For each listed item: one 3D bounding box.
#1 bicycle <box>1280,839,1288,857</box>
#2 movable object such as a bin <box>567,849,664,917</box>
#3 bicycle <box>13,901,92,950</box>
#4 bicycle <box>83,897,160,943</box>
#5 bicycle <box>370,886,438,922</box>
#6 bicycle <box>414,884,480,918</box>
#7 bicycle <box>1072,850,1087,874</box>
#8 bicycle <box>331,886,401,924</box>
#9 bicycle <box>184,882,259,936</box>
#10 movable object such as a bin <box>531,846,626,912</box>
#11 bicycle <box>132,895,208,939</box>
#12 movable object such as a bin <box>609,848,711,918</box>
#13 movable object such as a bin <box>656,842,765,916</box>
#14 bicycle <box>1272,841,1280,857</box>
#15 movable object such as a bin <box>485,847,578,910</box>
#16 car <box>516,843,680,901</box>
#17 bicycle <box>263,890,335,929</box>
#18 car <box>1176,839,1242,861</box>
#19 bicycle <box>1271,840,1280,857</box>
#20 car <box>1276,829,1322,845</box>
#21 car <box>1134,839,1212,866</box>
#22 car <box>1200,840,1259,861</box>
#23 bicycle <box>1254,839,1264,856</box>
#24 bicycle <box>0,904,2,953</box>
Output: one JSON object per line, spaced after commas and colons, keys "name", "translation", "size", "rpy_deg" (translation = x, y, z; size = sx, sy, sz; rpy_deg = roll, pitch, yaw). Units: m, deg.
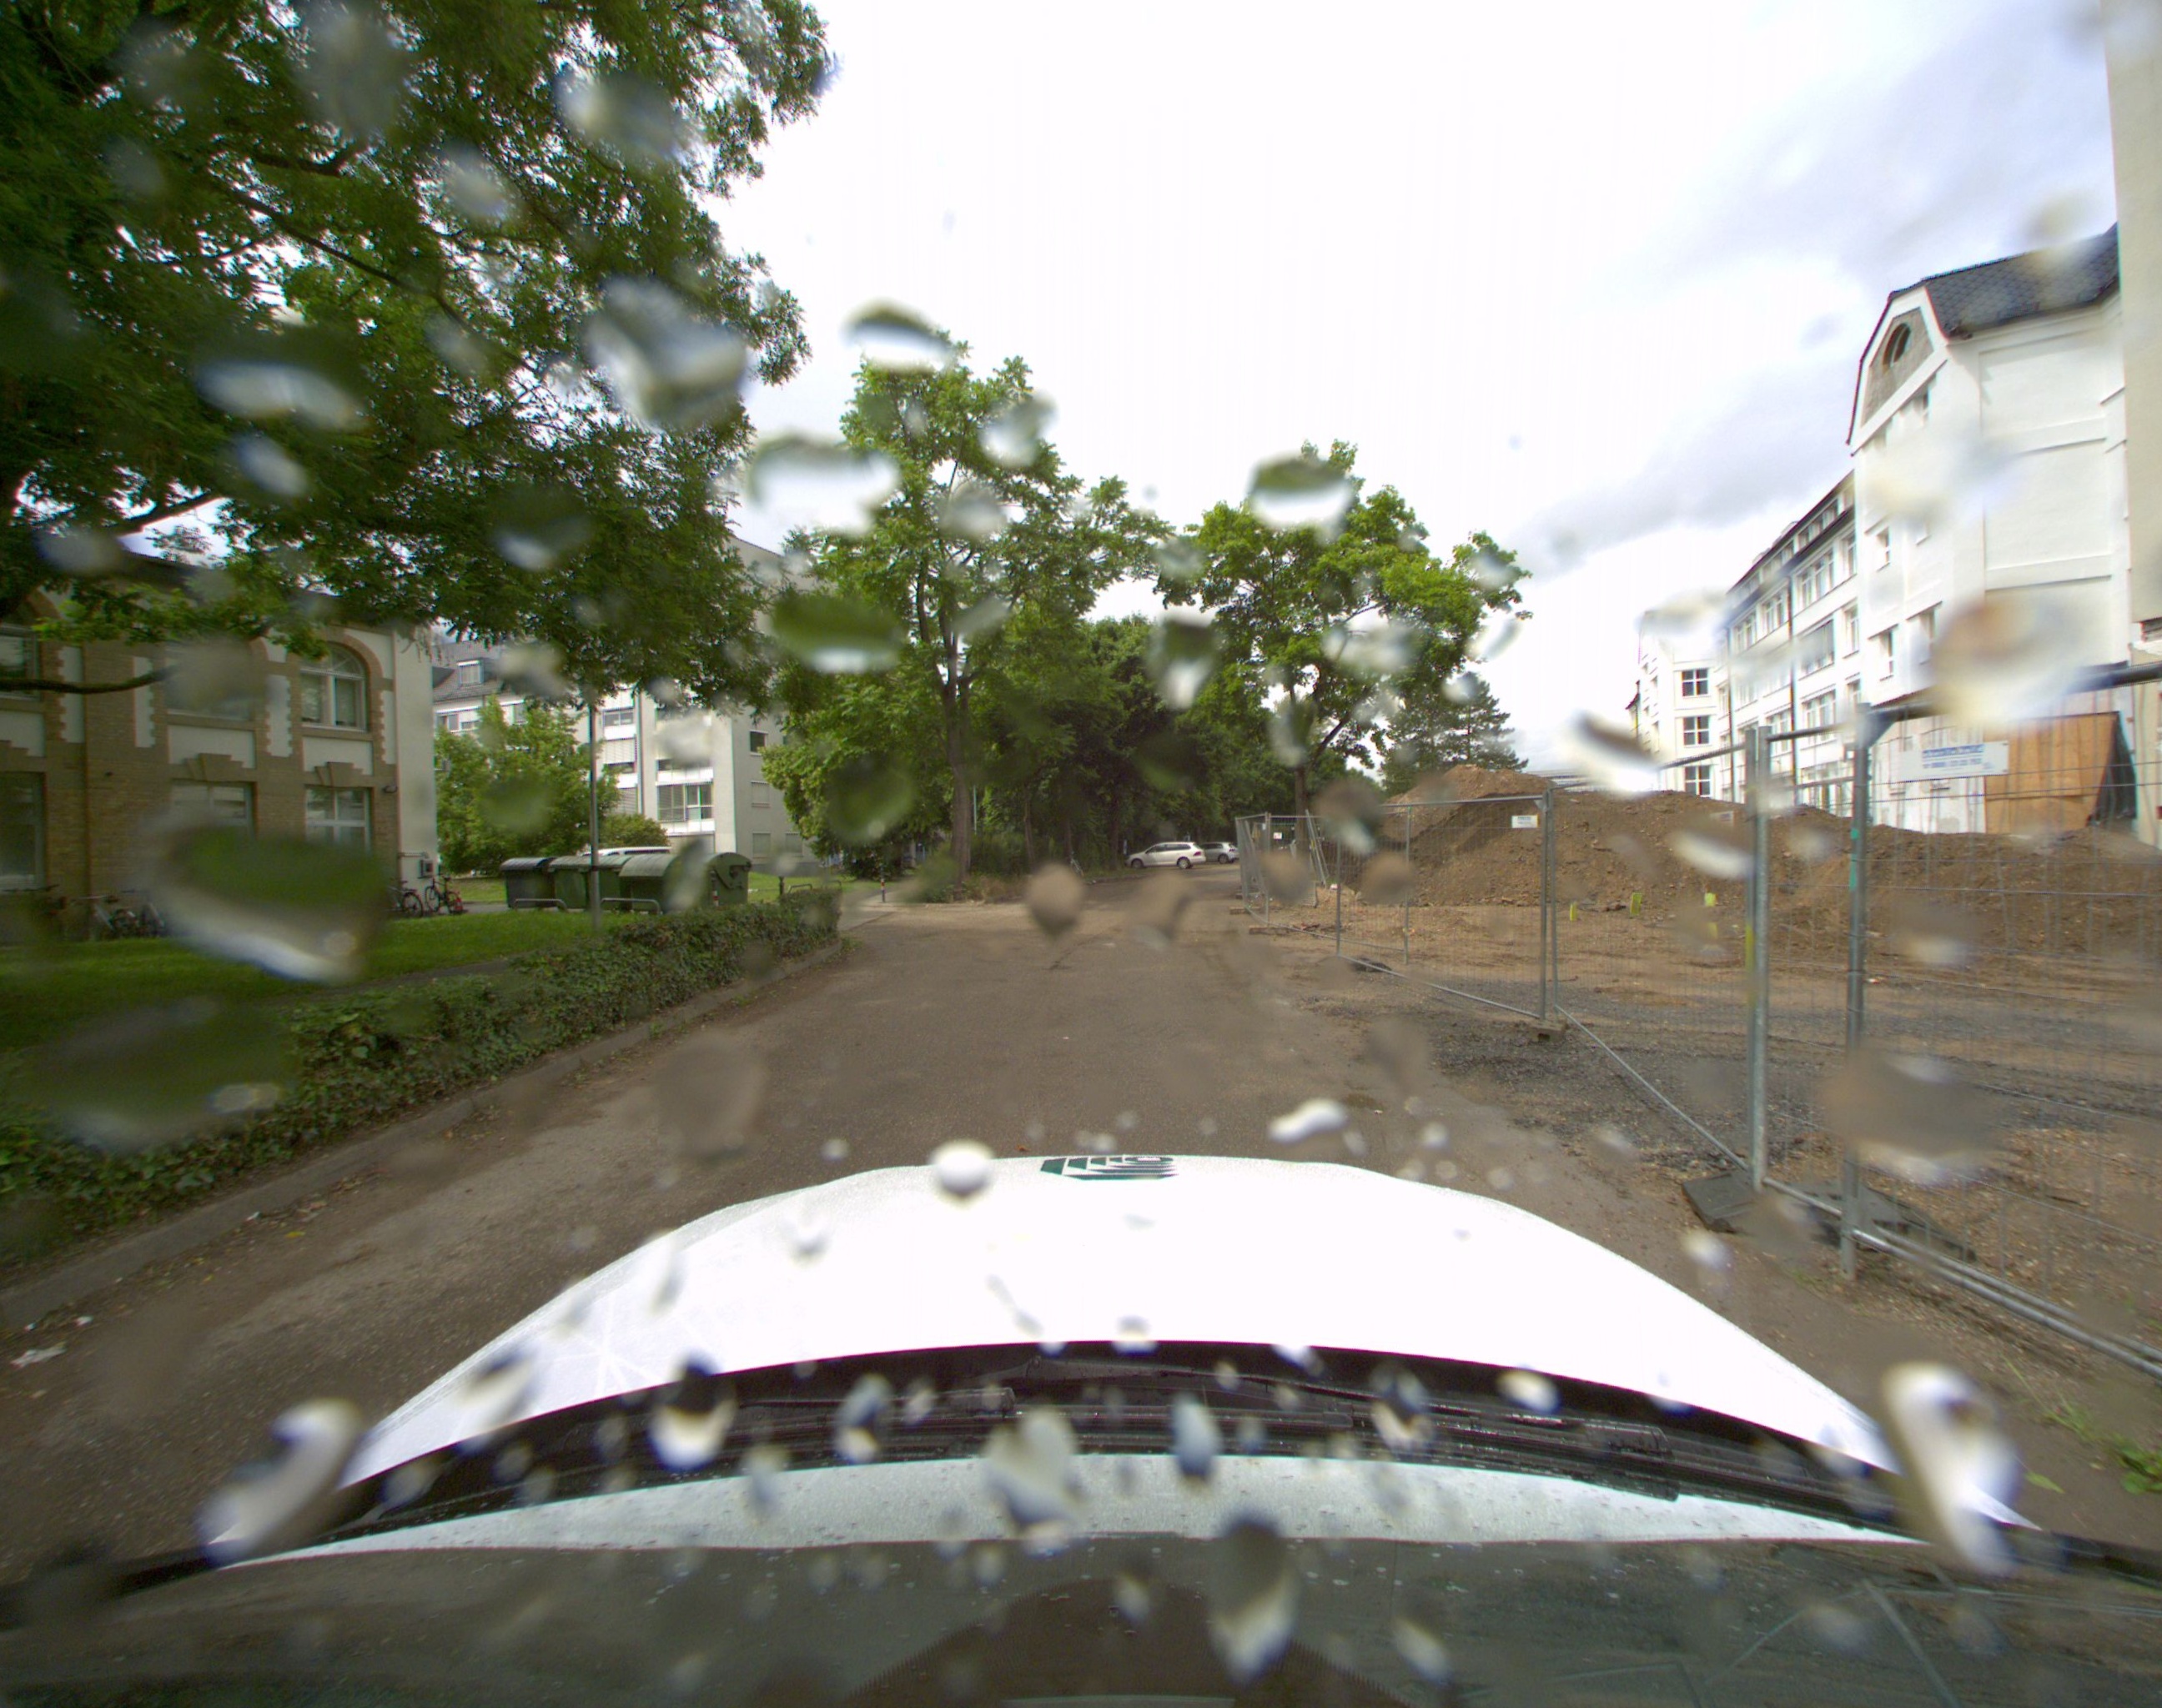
{"name": "bicycle", "translation": [15.501, -0.430, 62.265], "size": [0.592, 1.308, 2.679], "rpy_deg": [-1, -1, 14]}
{"name": "movable object such as a bin", "translation": [-10.530, 0.630, 18.459], "size": [1.335, 1.471, 1.372], "rpy_deg": [-1, -1, 25]}
{"name": "bicycle", "translation": [-18.563, 1.272, 14.685], "size": [2.031, 0.799, 0.456], "rpy_deg": [-1, -1, 26]}
{"name": "bicycle", "translation": [-18.167, 1.229, 15.408], "size": [2.031, 0.799, 0.456], "rpy_deg": [-1, -1, 26]}
{"name": "bicycle", "translation": [-16.250, 1.185, 19.531], "size": [2.031, 0.799, 0.456], "rpy_deg": [-1, -1, 26]}
{"name": "bicycle", "translation": [-15.811, 1.156, 20.302], "size": [2.031, 0.799, 0.456], "rpy_deg": [-1, -1, 26]}
{"name": "bicycle", "translation": [-0.046, 0.295, 31.396], "size": [0.465, 0.879, 1.572], "rpy_deg": [0, 1, 4]}
{"name": "bicycle", "translation": [-16.492, 1.162, 18.779], "size": [2.031, 0.799, 0.456], "rpy_deg": [-1, -1, 26]}
{"name": "bicycle", "translation": [-17.599, 1.104, 16.658], "size": [2.031, 1.038, 0.456], "rpy_deg": [-1, -1, 26]}
{"name": "movable object such as a bin", "translation": [-11.745, 0.559, 19.072], "size": [1.349, 1.471, 1.372], "rpy_deg": [-1, -1, 25]}
{"name": "bicycle", "translation": [-17.901, 1.219, 15.994], "size": [2.031, 0.799, 0.456], "rpy_deg": [-1, -1, 26]}
{"name": "movable object such as a bin", "translation": [-9.208, 0.611, 17.849], "size": [1.447, 1.471, 1.372], "rpy_deg": [-1, -1, 25]}
{"name": "movable object such as a bin", "translation": [-7.809, 0.515, 17.218], "size": [1.541, 1.471, 1.422], "rpy_deg": [-1, -1, 25]}
{"name": "bicycle", "translation": [15.896, -0.399, 66.490], "size": [0.592, 1.308, 2.679], "rpy_deg": [-1, -1, 14]}
{"name": "movable object such as a bin", "translation": [-13.269, 0.575, 19.698], "size": [1.349, 1.471, 1.372], "rpy_deg": [-1, -1, 25]}
{"name": "car", "translation": [-18.123, 0.609, 30.874], "size": [1.974, 2.013, 4.984], "rpy_deg": [-2, 0, 29]}
{"name": "bicycle", "translation": [-17.010, 1.191, 17.704], "size": [2.031, 0.799, 0.456], "rpy_deg": [-1, -1, 26]}
{"name": "car", "translation": [8.428, -0.247, 53.533], "size": [4.004, 1.409, 1.990], "rpy_deg": [-1, -1, 15]}
{"name": "bicycle", "translation": [14.894, -0.408, 62.393], "size": [0.592, 1.267, 2.679], "rpy_deg": [-1, -1, 14]}
{"name": "car", "translation": [21.524, -1.646, 80.410], "size": [3.997, 1.409, 1.993], "rpy_deg": [-1, -1, 25]}
{"name": "car", "translation": [5.100, -0.055, 45.038], "size": [4.004, 1.409, 1.990], "rpy_deg": [-1, -1, 15]}
{"name": "car", "translation": [10.739, -0.251, 58.740], "size": [4.004, 1.409, 1.990], "rpy_deg": [-1, -1, 15]}
{"name": "bicycle", "translation": [13.704, -0.490, 62.671], "size": [0.592, 1.308, 2.679], "rpy_deg": [-1, -1, 14]}
{"name": "bicycle", "translation": [-19.016, 1.252, 13.819], "size": [2.031, 0.799, 0.456], "rpy_deg": [-1, -1, 26]}
